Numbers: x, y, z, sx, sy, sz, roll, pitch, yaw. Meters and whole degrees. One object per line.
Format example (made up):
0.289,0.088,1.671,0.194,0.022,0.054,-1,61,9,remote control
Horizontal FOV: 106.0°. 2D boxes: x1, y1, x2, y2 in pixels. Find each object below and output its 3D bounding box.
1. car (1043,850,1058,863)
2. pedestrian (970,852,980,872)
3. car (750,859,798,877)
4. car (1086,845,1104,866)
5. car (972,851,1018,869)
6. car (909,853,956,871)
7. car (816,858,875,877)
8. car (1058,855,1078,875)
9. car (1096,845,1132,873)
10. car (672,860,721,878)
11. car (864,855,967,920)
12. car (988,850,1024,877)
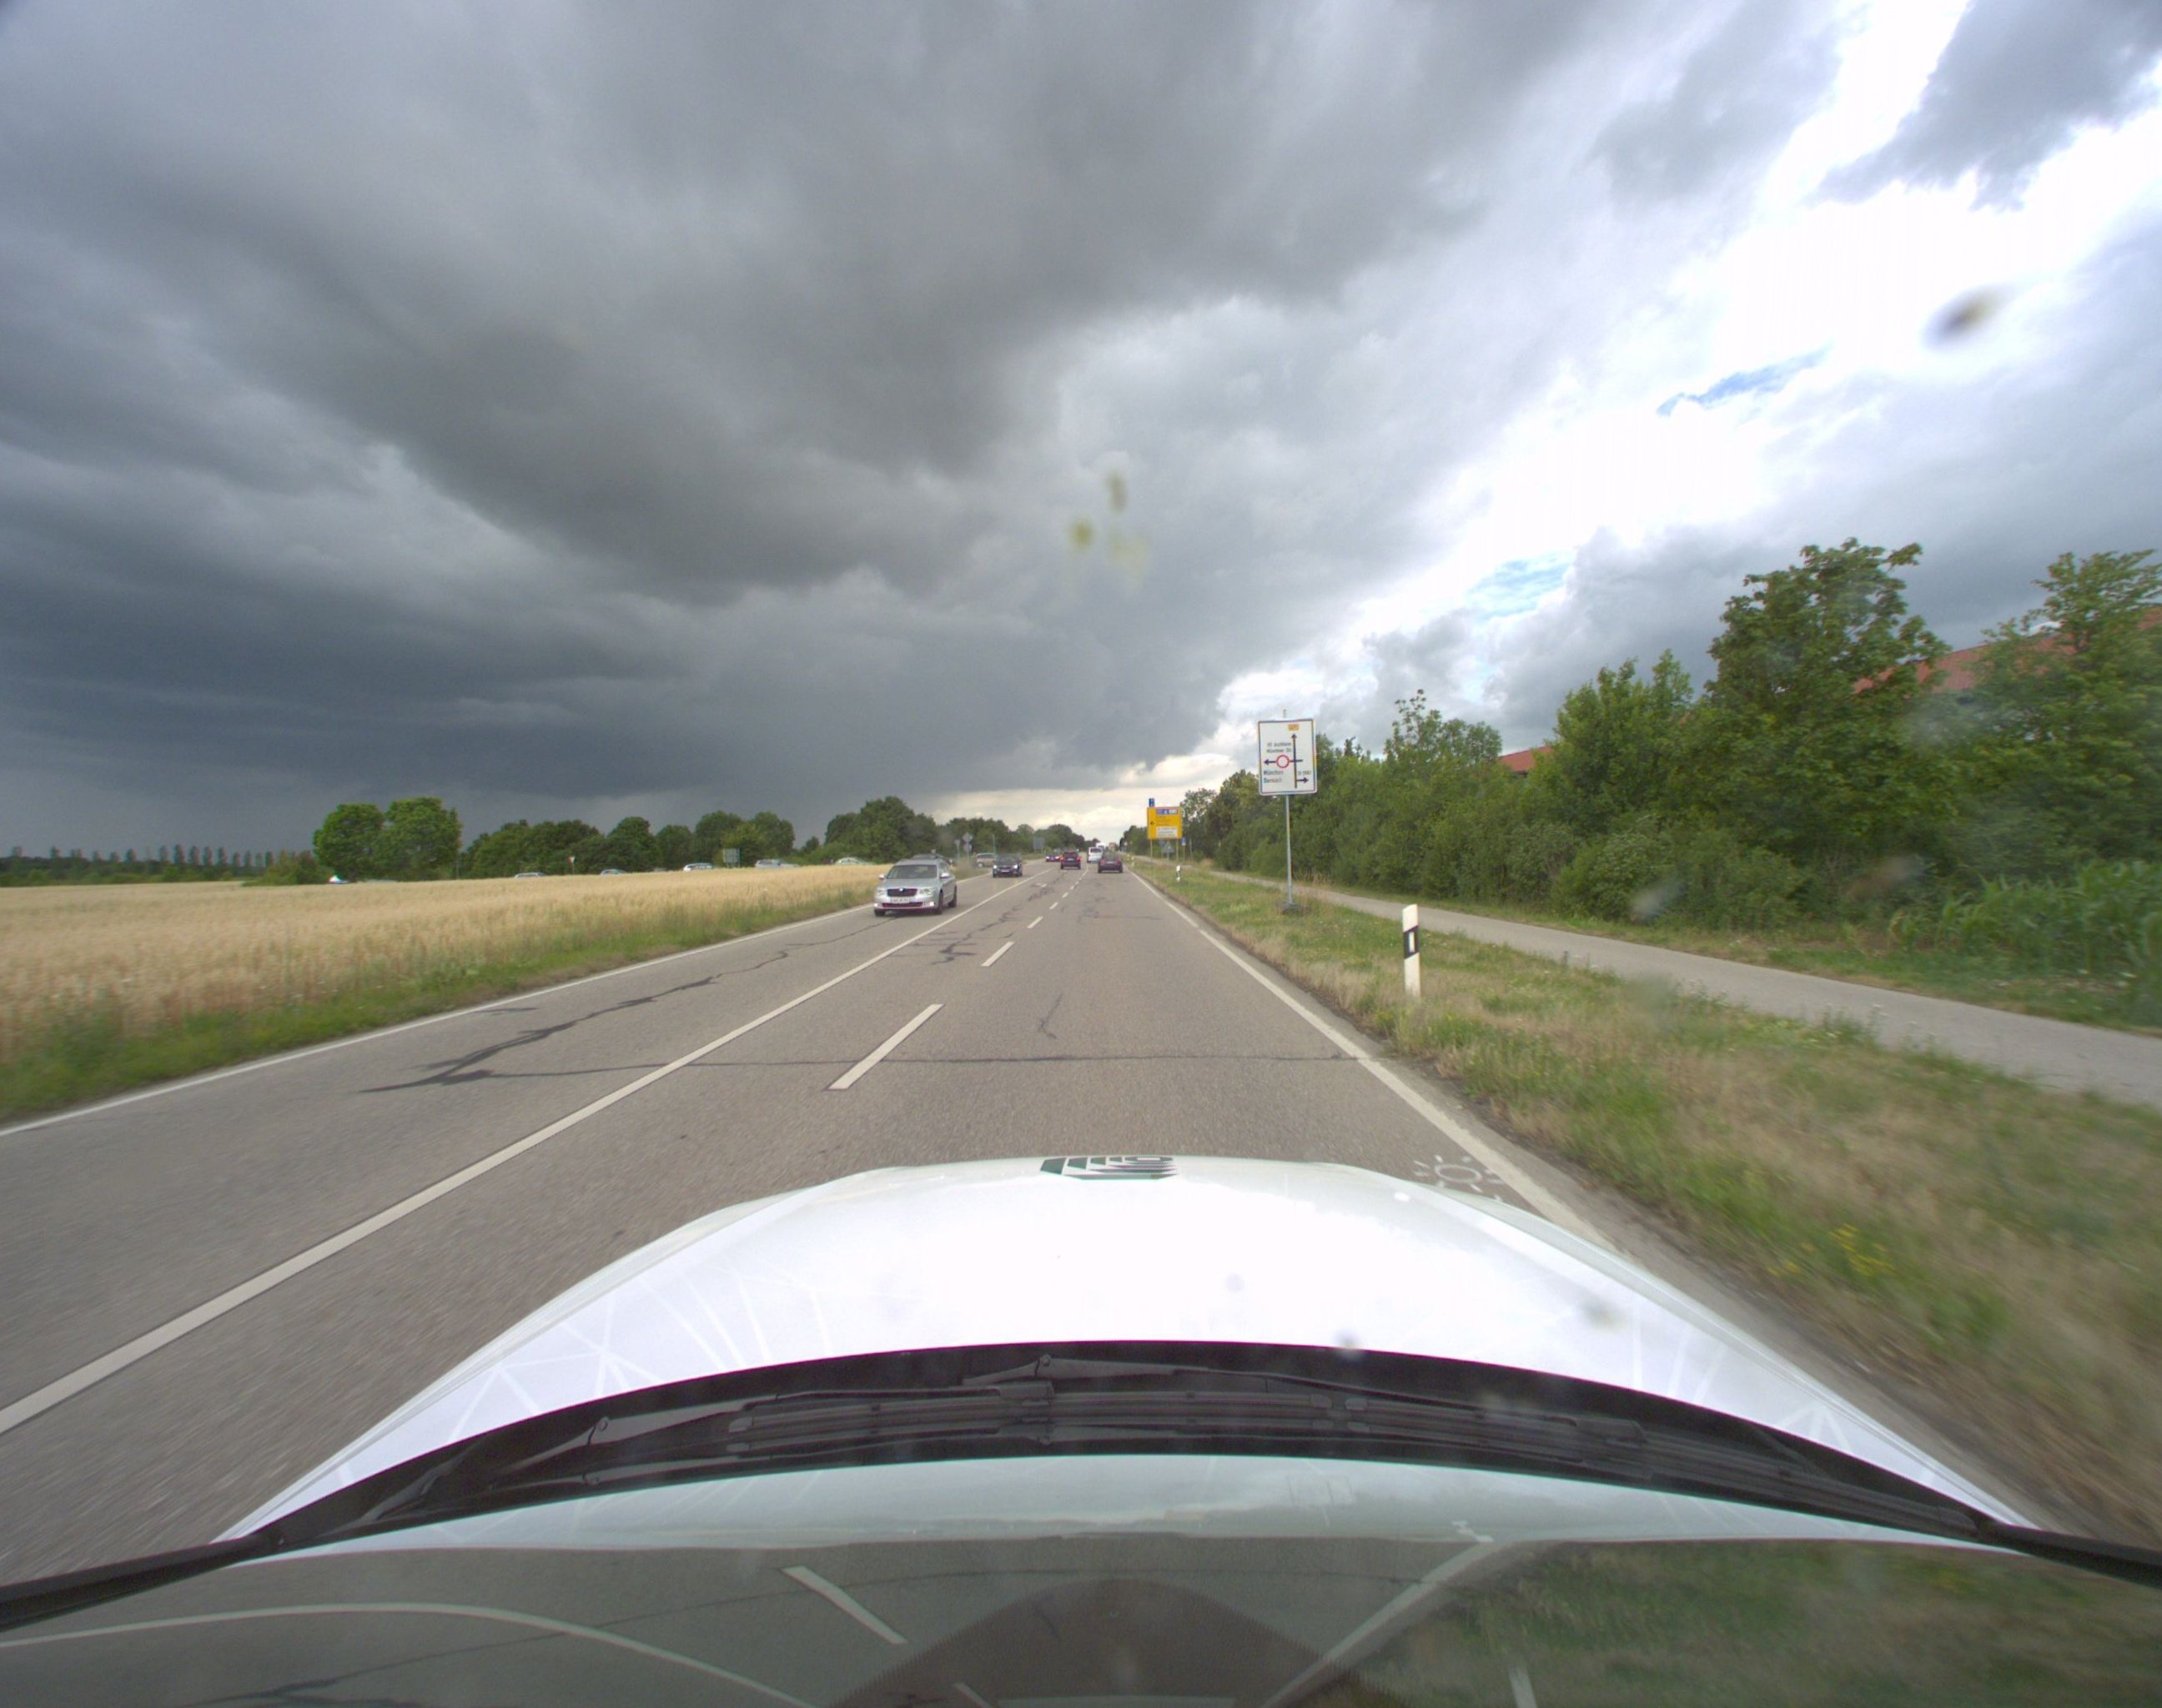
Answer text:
-3.974,0.350,107.715,1.640,1.590,4.002,-2,0,2,car
-8.440,0.645,65.089,0.363,1.575,0.708,-2,0,37,pedestrian
-30.936,1.372,82.191,4.052,1.649,1.869,-2,0,5,car
1.726,0.130,100.269,1.991,2.452,4.854,-2,0,2,car
-8.553,0.591,80.904,4.404,1.649,1.500,-2,0,-4,car
-14.606,0.791,80.211,4.401,1.649,1.501,-2,0,-3,car
-23.528,1.334,81.581,5.282,1.649,1.869,-2,0,5,car
-1.143,0.980,72.632,1.566,1.701,4.001,-2,0,1,car
2.397,0.347,60.518,2.365,1.880,4.476,-3,0,-1,car
-38.961,1.480,82.658,4.052,1.649,1.869,-2,0,5,car
-4.543,0.860,23.157,1.760,1.601,4.932,-2,0,1,car
-4.796,0.611,52.522,1.847,1.630,4.001,-2,0,1,car
